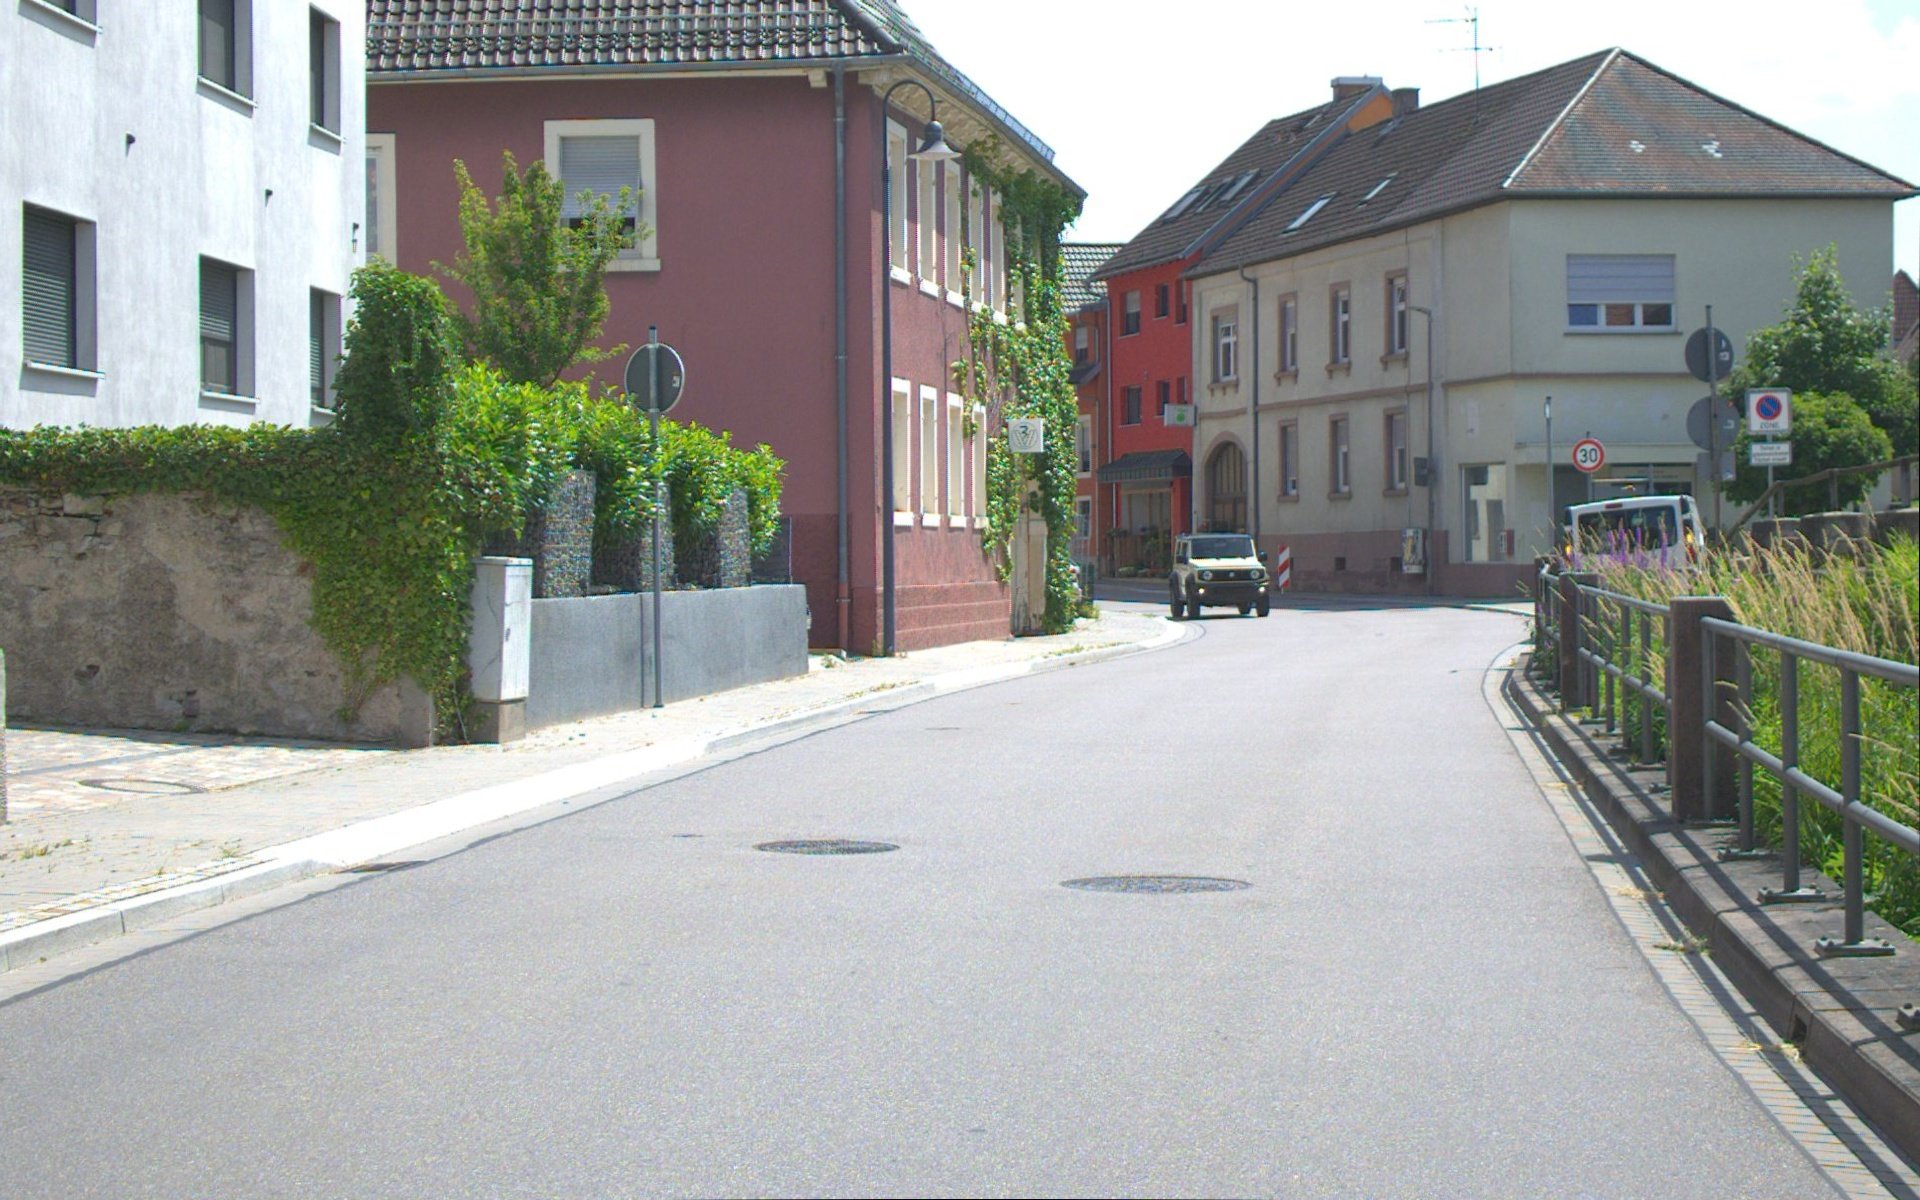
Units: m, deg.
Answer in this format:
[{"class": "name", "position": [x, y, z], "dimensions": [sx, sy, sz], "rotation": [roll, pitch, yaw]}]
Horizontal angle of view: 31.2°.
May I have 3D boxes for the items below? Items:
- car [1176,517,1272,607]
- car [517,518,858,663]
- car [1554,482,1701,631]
[{"class": "car", "position": [5.325, -0.778, 69.712], "dimensions": [1.621, 1.713, 3.473], "rotation": [-3, 1, 0]}, {"class": "car", "position": [-3.127, -0.133, 39.763], "dimensions": [3.566, 1.401, 1.651], "rotation": [4, 2, 10]}, {"class": "car", "position": [9.560, -0.631, 49.074], "dimensions": [1.899, 1.974, 3.112], "rotation": [-2, 1, 13]}]
